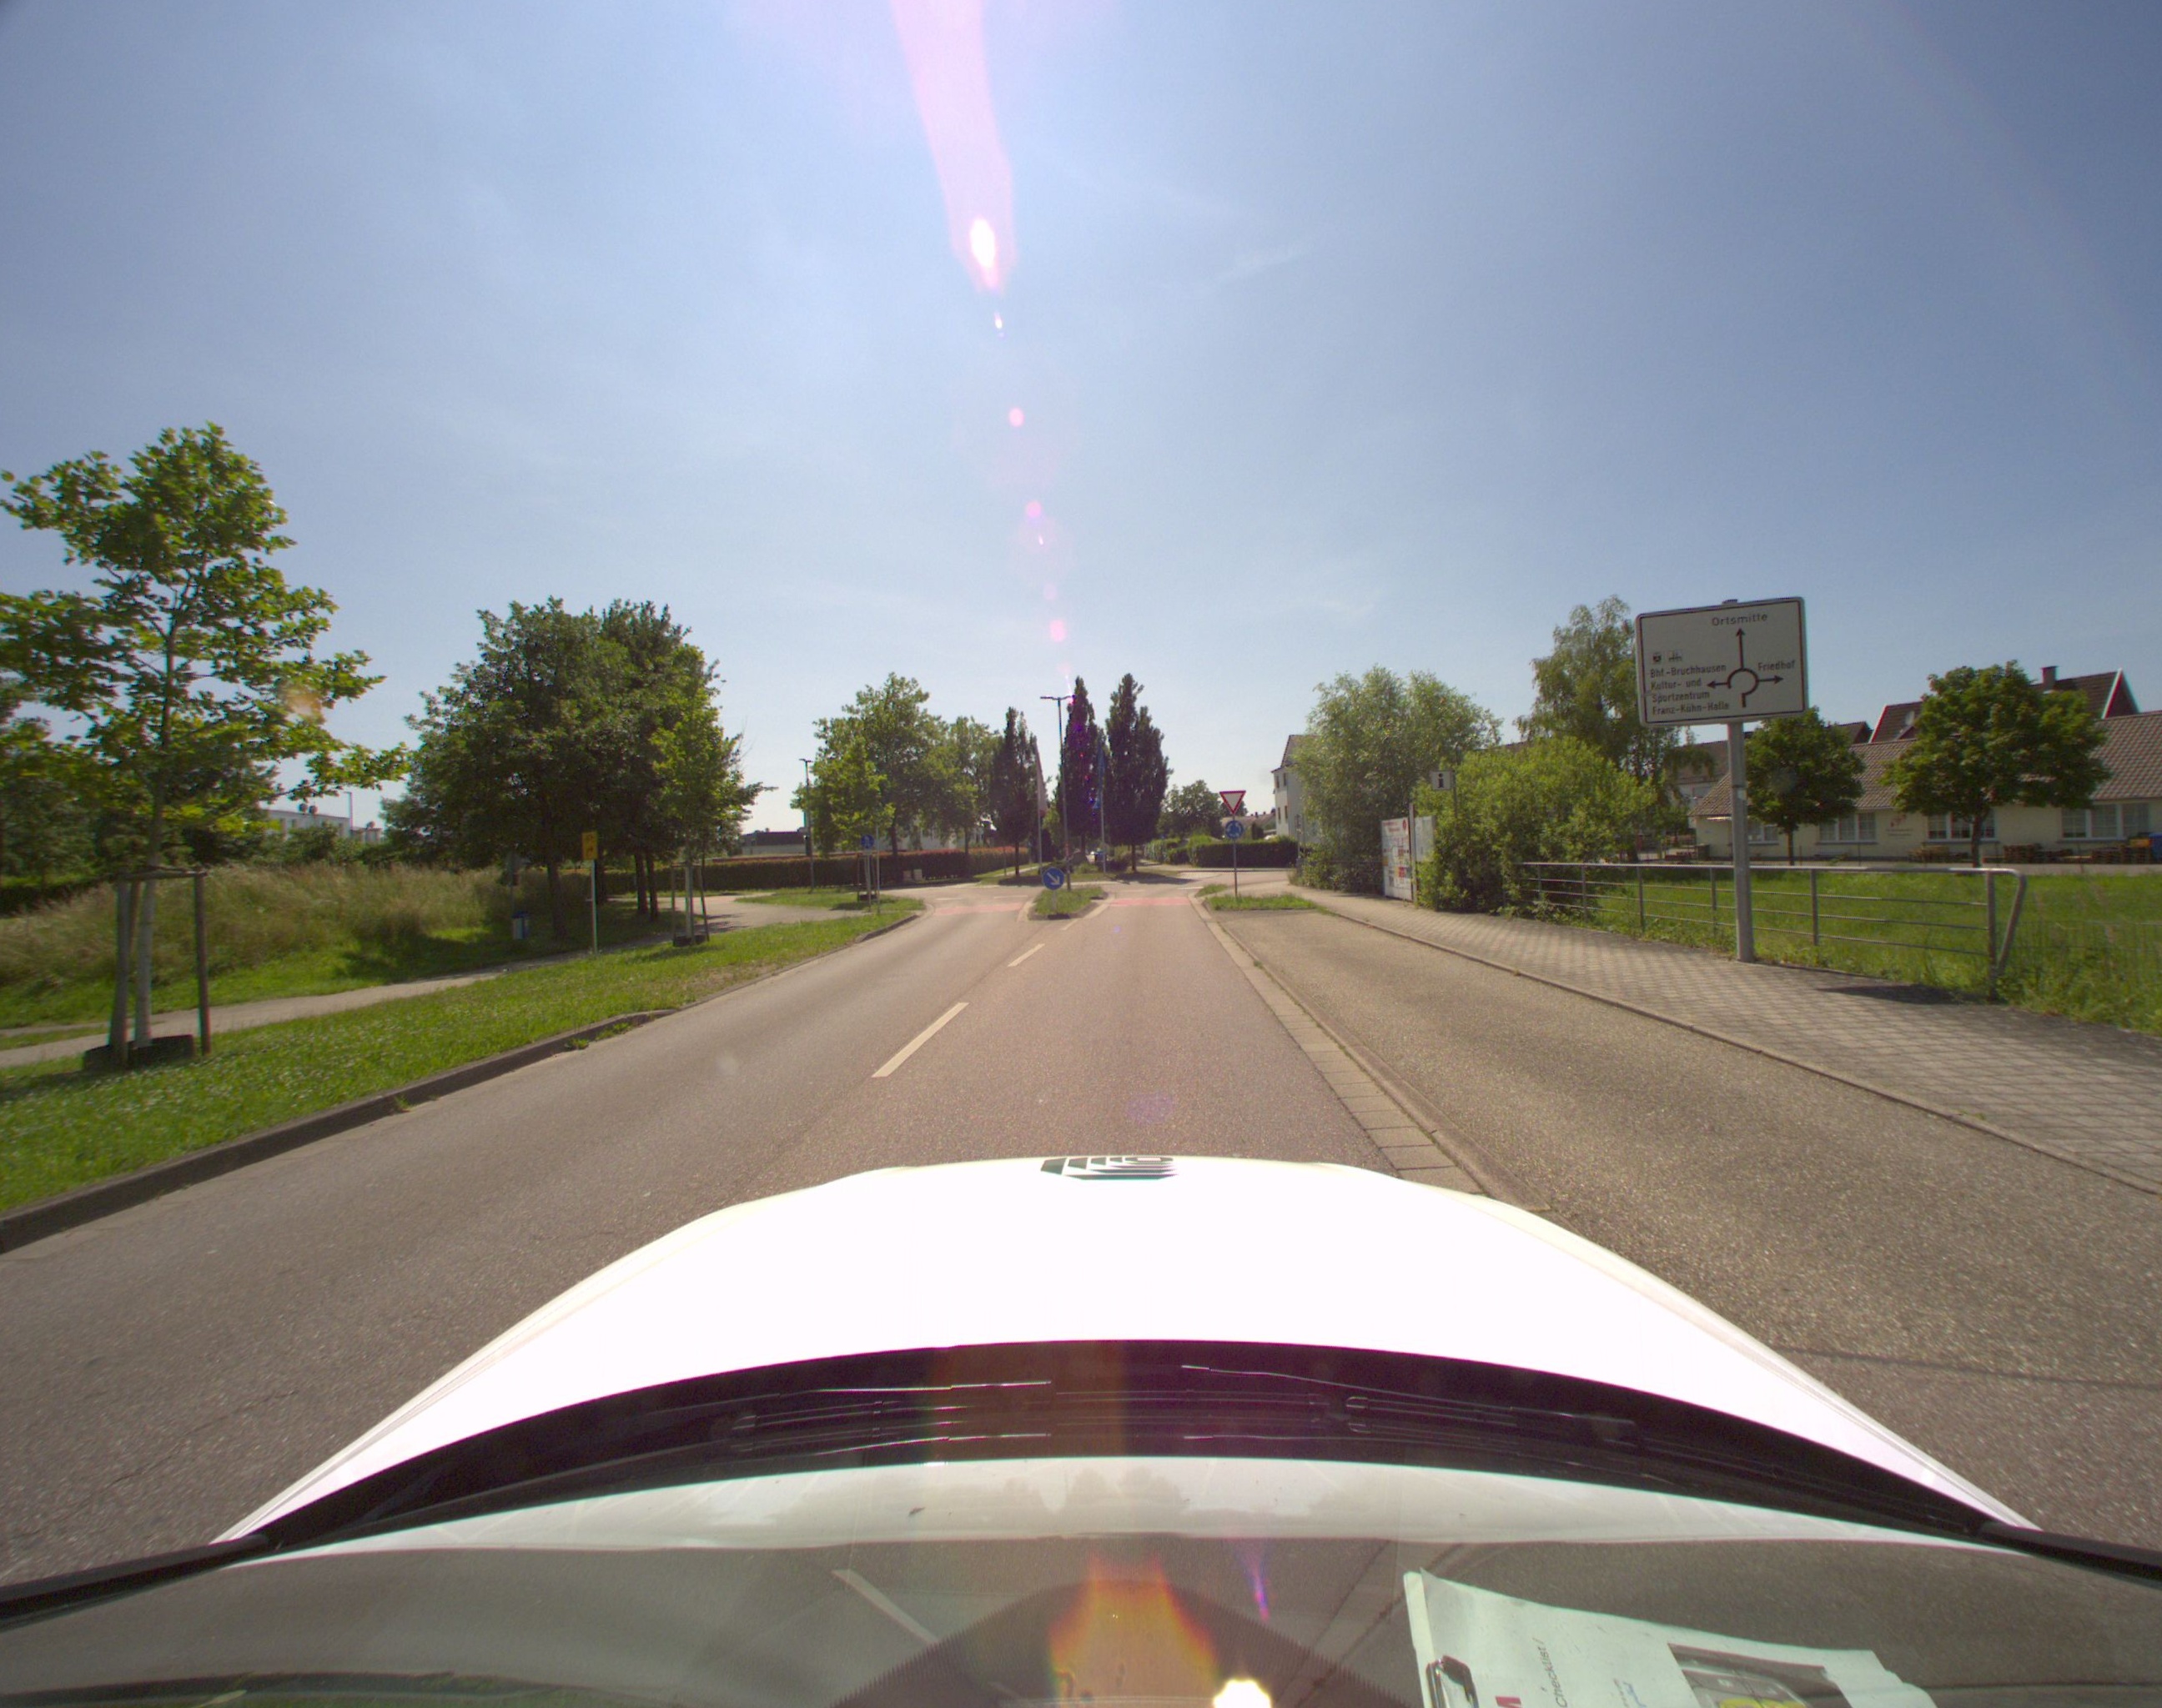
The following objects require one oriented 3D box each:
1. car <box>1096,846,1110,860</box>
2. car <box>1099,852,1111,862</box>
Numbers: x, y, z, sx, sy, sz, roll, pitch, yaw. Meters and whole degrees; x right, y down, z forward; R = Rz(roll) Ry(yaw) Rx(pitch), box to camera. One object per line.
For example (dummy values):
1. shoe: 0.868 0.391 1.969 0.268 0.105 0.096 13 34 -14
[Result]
1. car: 3.035 -0.184 114.307 1.916 1.886 4.000 -1 0 1
2. car: 4.684 0.595 158.507 1.984 1.770 4.005 -1 0 4
